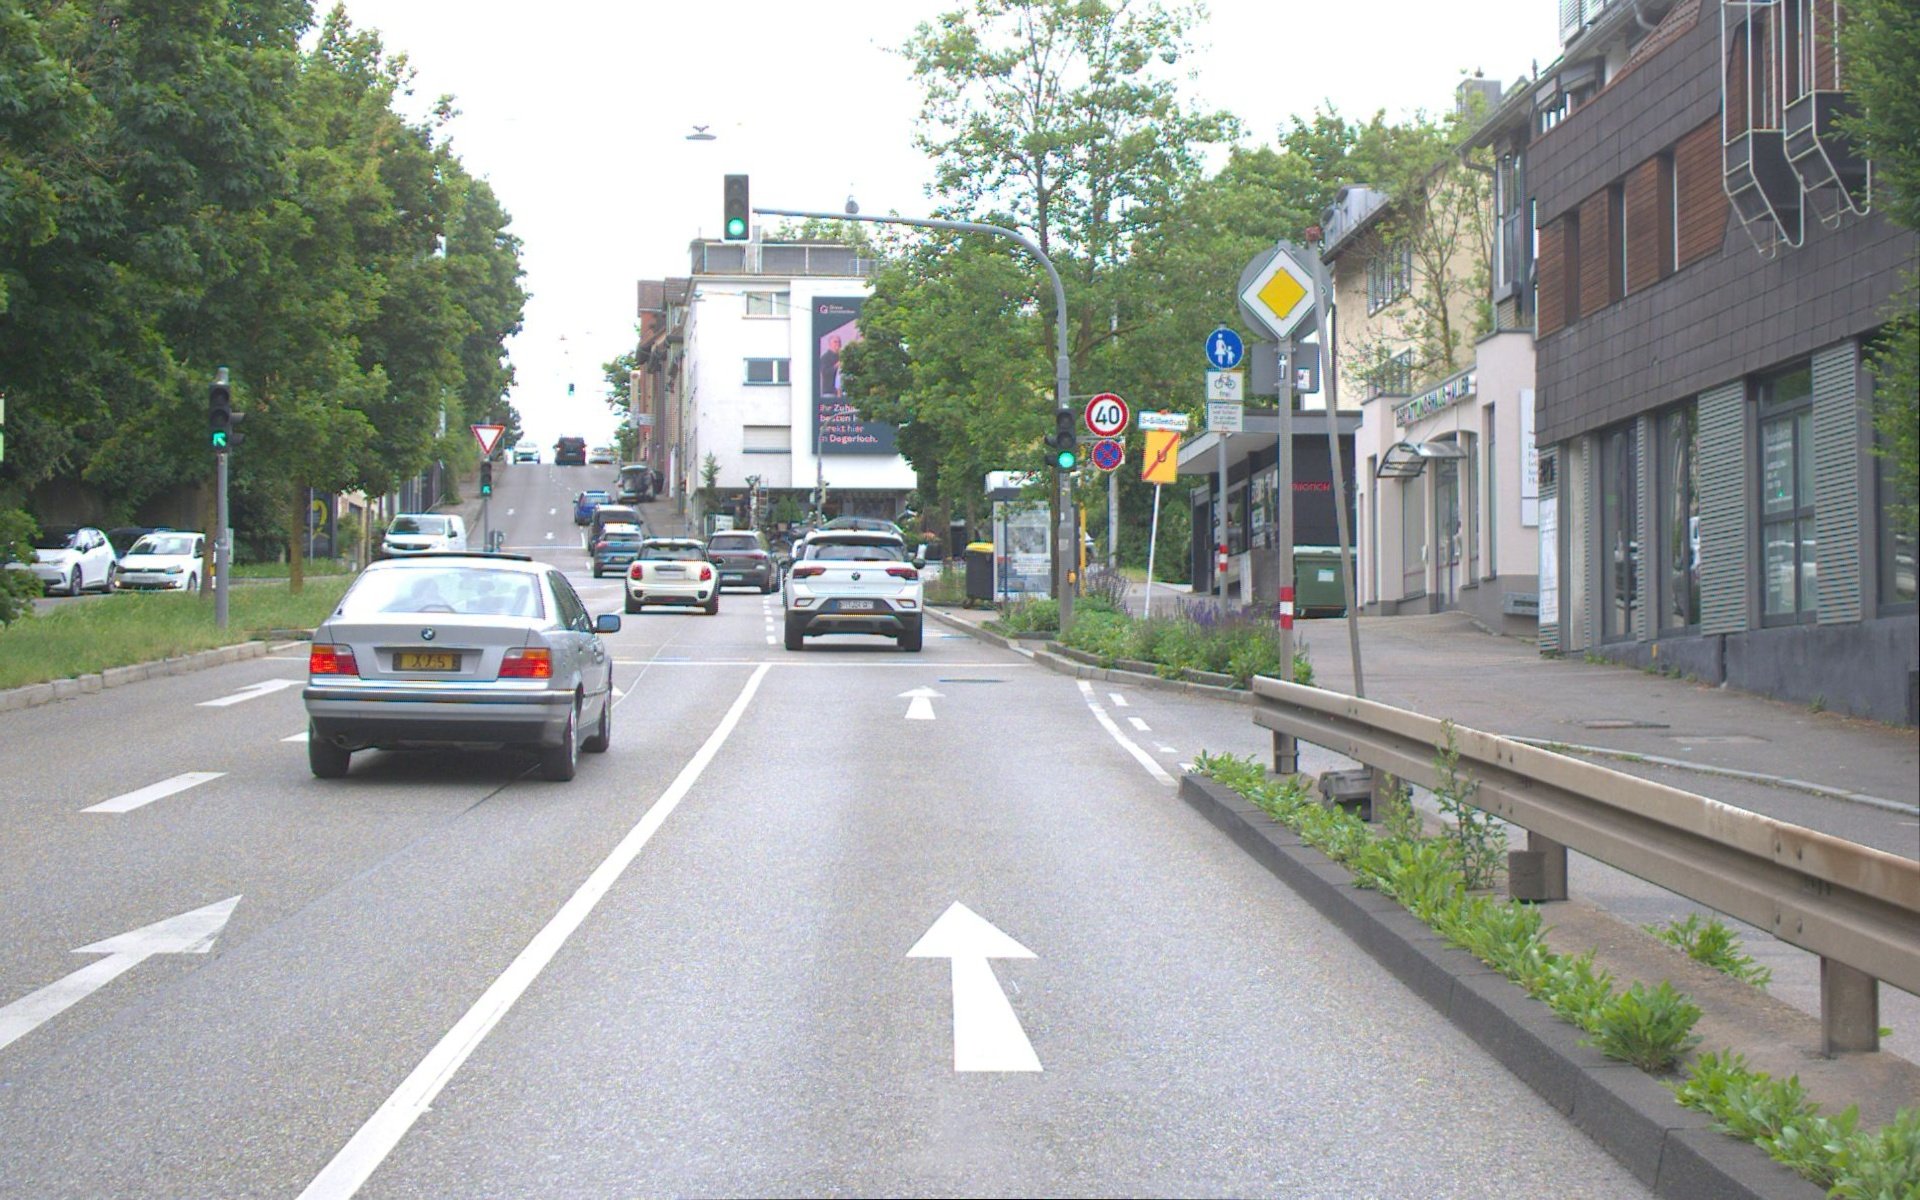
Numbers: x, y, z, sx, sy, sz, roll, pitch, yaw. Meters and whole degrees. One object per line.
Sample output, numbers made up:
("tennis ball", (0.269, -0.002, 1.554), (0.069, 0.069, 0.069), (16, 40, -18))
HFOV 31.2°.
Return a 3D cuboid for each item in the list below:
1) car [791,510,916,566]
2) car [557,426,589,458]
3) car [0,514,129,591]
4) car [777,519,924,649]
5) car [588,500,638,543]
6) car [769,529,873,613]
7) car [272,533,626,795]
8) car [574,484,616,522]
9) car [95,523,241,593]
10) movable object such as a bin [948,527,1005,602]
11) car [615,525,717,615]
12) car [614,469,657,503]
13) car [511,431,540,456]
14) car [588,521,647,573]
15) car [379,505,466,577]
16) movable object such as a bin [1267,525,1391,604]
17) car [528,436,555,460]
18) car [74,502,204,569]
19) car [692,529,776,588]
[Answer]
("car", (-4.279, -2.472, 137.543), (4.687, 1.706, 2.319), (5, 4, -6))
("car", (-25.156, -10.255, 223.481), (1.993, 2.006, 4.001), (1, 2, -7))
("car", (-20.178, -1.087, 76.629), (1.780, 1.623, 4.169), (2, 2, 8))
("car", (-1.491, -0.247, 45.427), (1.779, 1.573, 4.001), (1, 2, -4))
("car", (-13.184, -2.988, 130.532), (1.779, 1.573, 4.001), (1, 2, -6))
("car", (-2.567, -0.555, 62.831), (1.779, 1.405, 4.001), (1, 2, -4))
("car", (-3.204, 0.339, 22.239), (1.706, 1.459, 4.000), (1, 2, -1))
("car", (-16.106, -4.277, 151.409), (1.779, 1.573, 4.001), (1, 2, -6))
("car", (-17.079, -0.936, 74.308), (1.729, 1.423, 3.789), (2, 2, 10))
("movable object such as a bin", (0.335, -0.734, 70.015), (1.085, 1.476, 1.537), (1, 1, -2))
("car", (-5.608, -0.589, 65.305), (1.779, 1.573, 4.001), (1, 2, -6))
("car", (-16.214, -5.675, 171.682), (2.089, 1.607, 4.001), (1, 2, -5))
("car", (-28.819, -10.400, 228.082), (1.882, 1.562, 4.391), (0, 4, -7))
("car", (-10.968, -1.717, 110.005), (1.779, 1.573, 4.001), (1, 2, -6))
("car", (-15.511, -1.730, 99.358), (1.938, 1.951, 5.023), (1, 2, -3))
("movable object such as a bin", (7.091, -0.708, 66.348), (1.888, 1.447, 4.000), (1, 1, -1))
("car", (-29.797, -10.855, 244.861), (1.882, 1.562, 4.391), (0, 4, -7))
("car", (-19.666, -1.569, 82.528), (1.712, 1.523, 4.300), (2, 2, 5))
("car", (-5.876, -1.110, 89.670), (1.780, 1.431, 4.000), (2, 2, 2))
